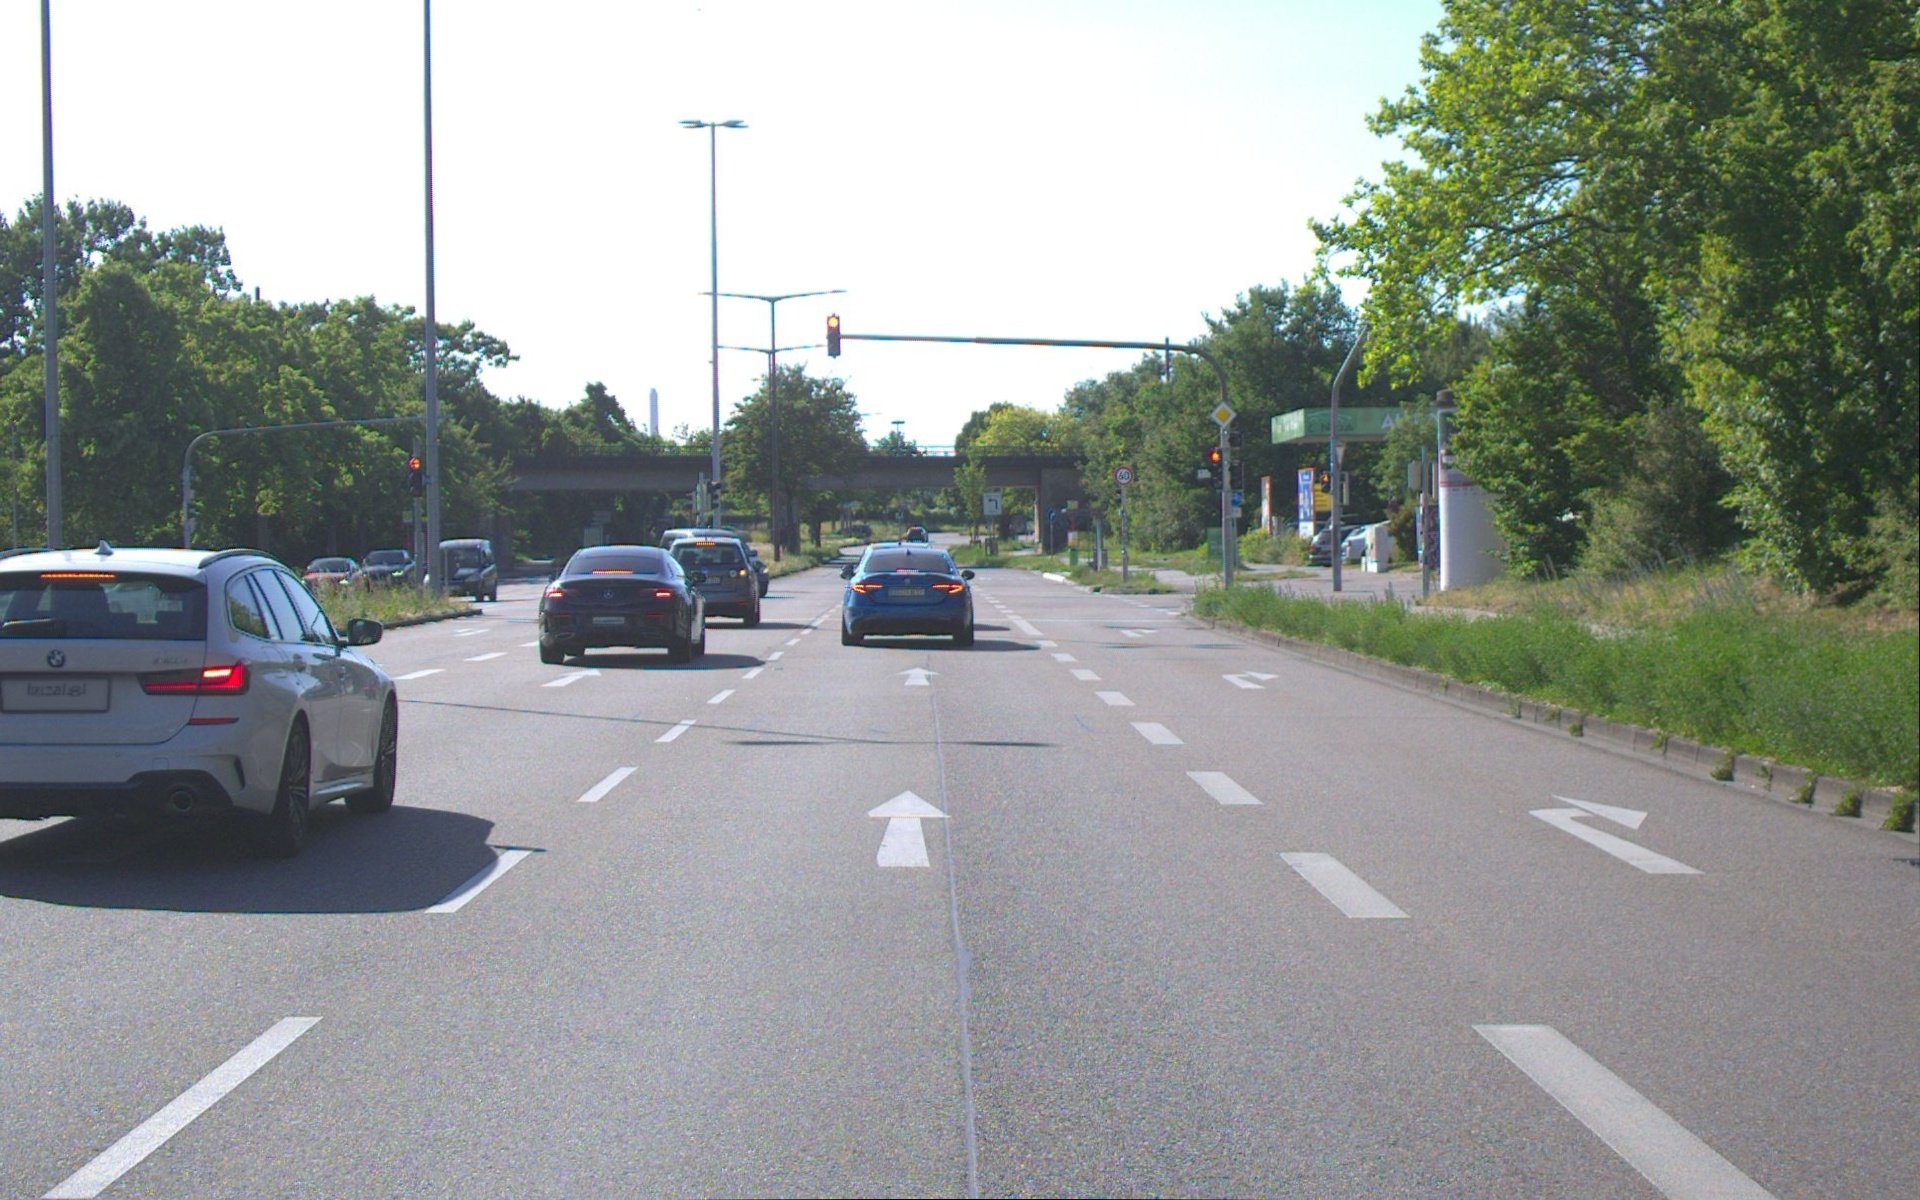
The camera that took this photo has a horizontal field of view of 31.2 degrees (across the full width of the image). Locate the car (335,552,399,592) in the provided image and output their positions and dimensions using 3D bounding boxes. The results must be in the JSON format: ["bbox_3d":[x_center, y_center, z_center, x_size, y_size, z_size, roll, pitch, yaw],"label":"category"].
[{"bbox_3d":[-21.753,-1.029,126.228,1.703,1.397,3.723,-1,1,-1],"label":"car"}]

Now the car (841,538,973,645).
[{"bbox_3d":[-0.775,-0.165,50.883,1.861,1.494,4.337,-1,1,-1],"label":"car"}]

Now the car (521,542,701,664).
[{"bbox_3d":[-4.380,-0.004,43.721,1.861,1.450,4.548,-1,1,-1],"label":"car"}]

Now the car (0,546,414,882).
[{"bbox_3d":[-4.033,0.466,17.372,1.861,1.450,4.548,-1,1,-1],"label":"car"}]

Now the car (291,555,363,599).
[{"bbox_3d":[-20.798,-0.770,113.061,1.703,1.397,3.723,-1,1,-1],"label":"car"}]

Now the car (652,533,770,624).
[{"bbox_3d":[-4.469,-0.420,62.256,1.861,1.560,4.548,-1,1,-1],"label":"car"}]

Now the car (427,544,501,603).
[{"bbox_3d":[-13.833,-0.759,96.058,1.535,1.575,3.671,-1,1,-1],"label":"car"}]
